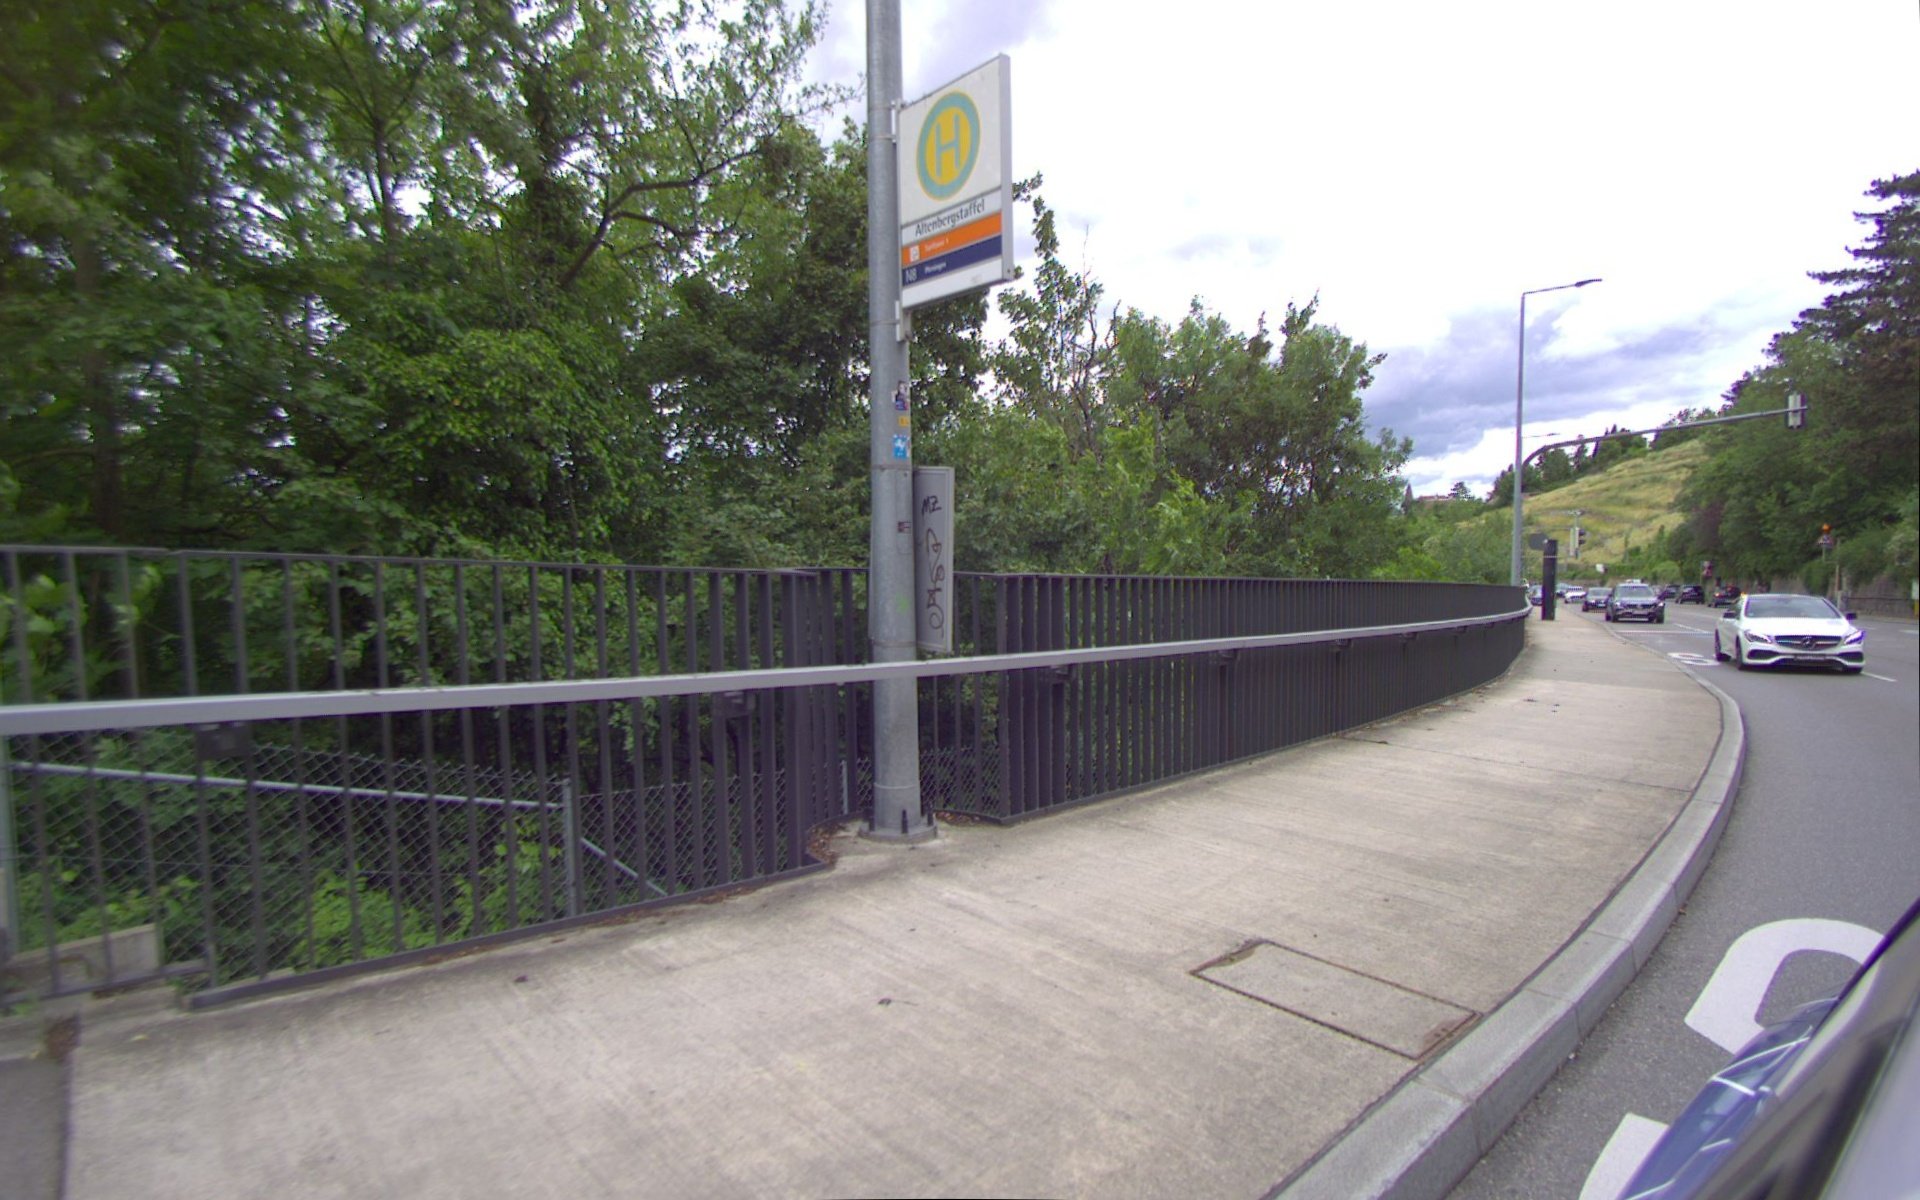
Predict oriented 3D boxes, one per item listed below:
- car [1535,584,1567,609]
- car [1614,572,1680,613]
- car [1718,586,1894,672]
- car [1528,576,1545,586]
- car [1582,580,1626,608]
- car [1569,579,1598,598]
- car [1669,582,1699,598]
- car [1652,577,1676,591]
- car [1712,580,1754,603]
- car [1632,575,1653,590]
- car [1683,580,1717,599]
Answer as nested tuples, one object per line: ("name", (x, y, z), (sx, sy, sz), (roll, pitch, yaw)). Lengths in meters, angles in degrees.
("car", (40.960, -0.257, 70.213), (1.748, 1.563, 4.381), (4, 2, 29))
("car", (28.848, -0.322, 42.616), (1.983, 1.609, 3.958), (-2, 0, 30))
("car", (16.073, 0.517, 19.466), (1.889, 1.445, 4.218), (-1, -1, 31))
("car", (110.721, -3.627, 194.283), (1.796, 1.718, 4.446), (-1, 1, 17))
("car", (38.189, -0.372, 60.082), (1.983, 1.603, 3.958), (1, 1, 30))
("car", (54.324, -0.984, 88.261), (1.983, 1.603, 3.958), (1, 1, 30))
("car", (70.657, -1.007, 98.784), (1.932, 1.568, 4.204), (1, 1, 30))
("car", (76.812, -1.684, 110.409), (1.673, 1.460, 4.172), (-2, -1, 40))
("car", (54.318, -0.615, 71.177), (1.803, 1.452, 4.203), (-2, 0, 31))
("car", (93.052, -2.414, 137.978), (1.911, 2.030, 5.299), (0, 1, 30))
("car", (61.926, -0.856, 84.719), (1.771, 1.501, 4.167), (-2, -1, 30))
